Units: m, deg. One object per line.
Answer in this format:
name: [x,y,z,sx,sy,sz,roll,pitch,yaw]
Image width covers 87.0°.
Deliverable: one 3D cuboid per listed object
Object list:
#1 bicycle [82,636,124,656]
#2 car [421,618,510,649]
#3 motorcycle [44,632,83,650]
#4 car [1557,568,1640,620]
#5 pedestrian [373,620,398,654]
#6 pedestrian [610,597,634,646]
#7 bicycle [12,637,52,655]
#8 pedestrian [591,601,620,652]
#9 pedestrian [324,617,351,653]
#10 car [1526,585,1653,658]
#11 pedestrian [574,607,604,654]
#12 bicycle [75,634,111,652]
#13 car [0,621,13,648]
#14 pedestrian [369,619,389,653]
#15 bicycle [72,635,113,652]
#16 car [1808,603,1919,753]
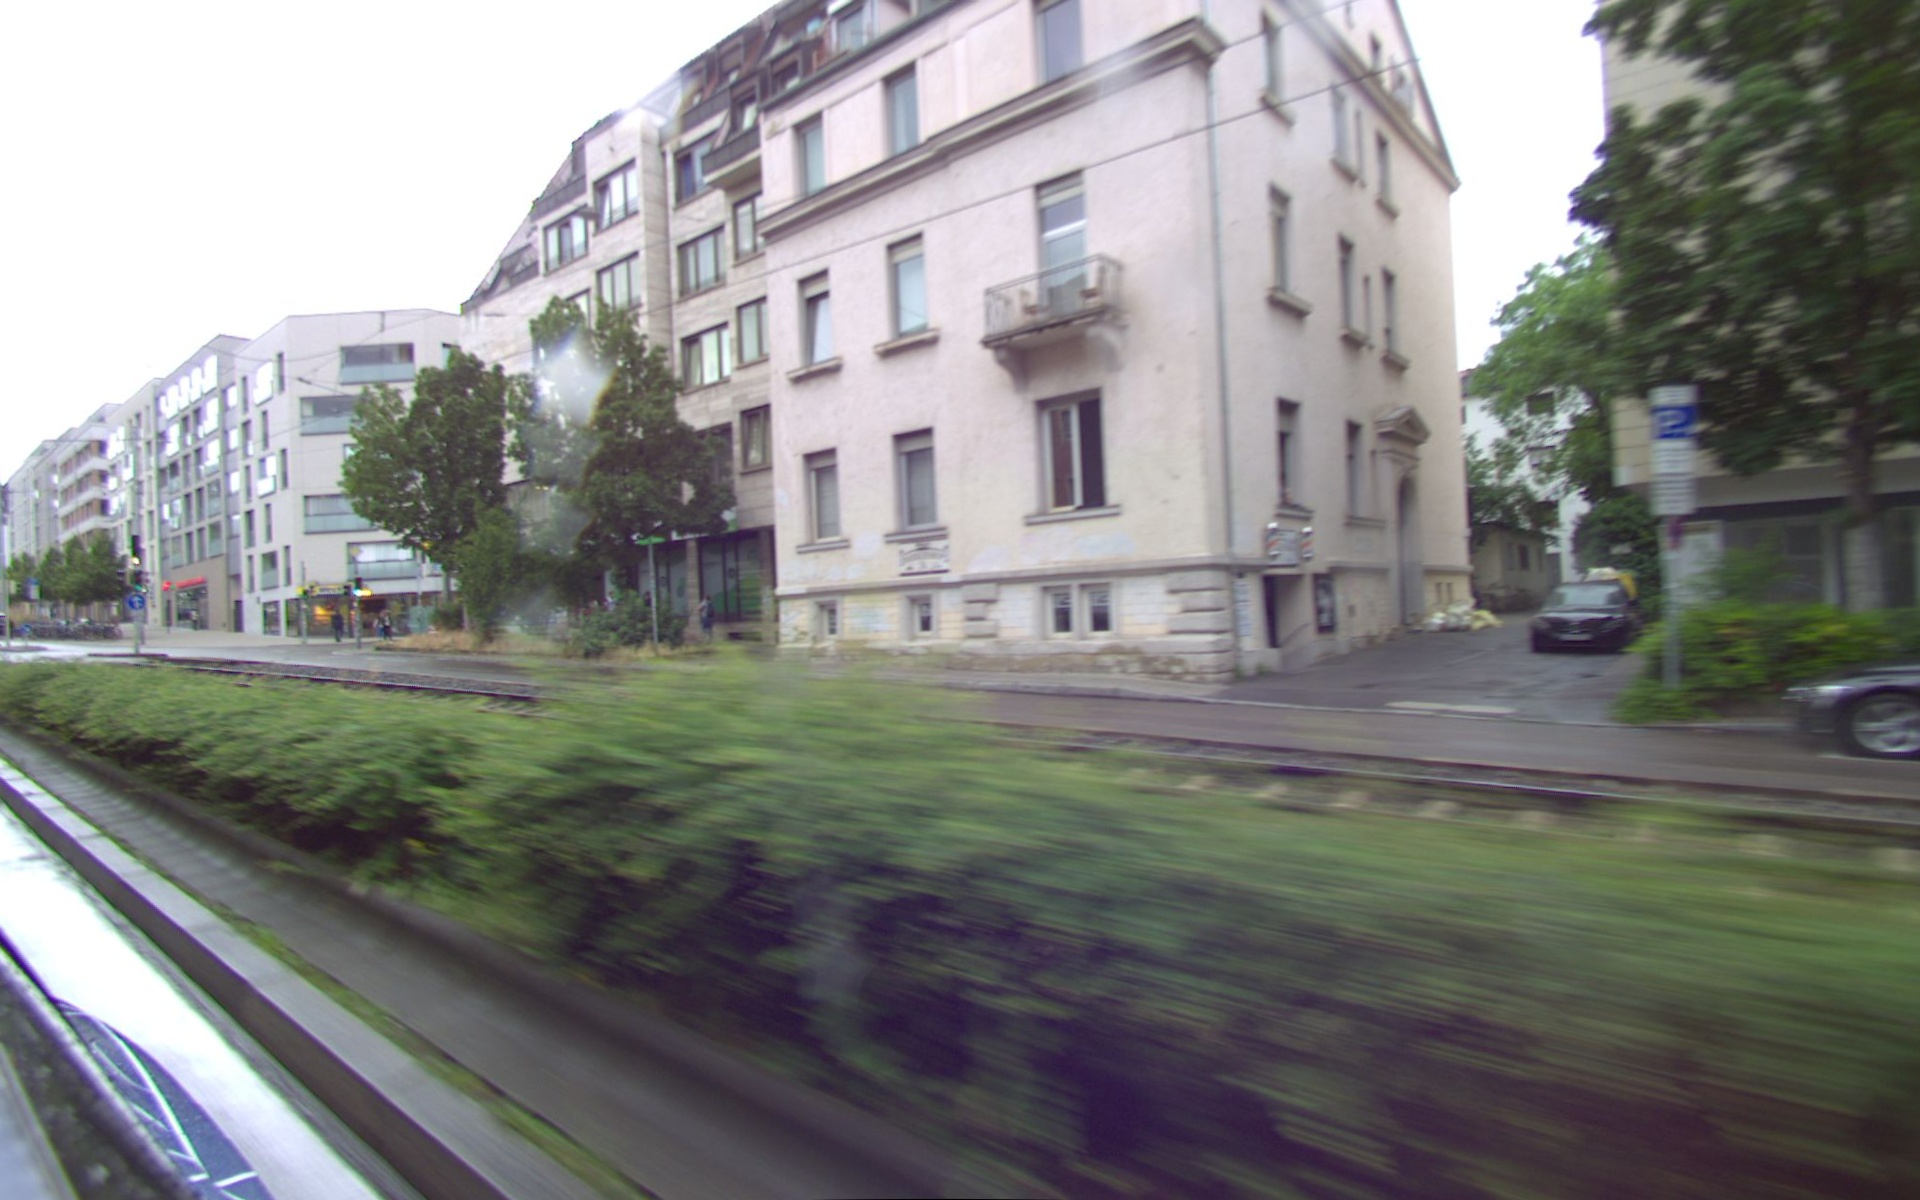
bicycle: [-49.527,2.635,58.495,0.438,0.987,1.774,0,2,25]
car: [-24.414,1.646,50.058,1.593,1.327,3.655,1,1,41]
motorcycle: [-56.743,2.573,64.078,0.540,1.050,1.748,1,0,26]
car: [20.990,-0.201,33.213,1.859,1.573,4.072,-1,0,39]
pedestrian: [-27.512,1.772,48.441,0.767,1.580,0.648,-1,2,3]
pedestrian: [-11.627,0.731,34.796,0.585,1.609,0.499,1,3,38]
bicycle: [-55.389,2.735,60.412,0.385,0.924,1.774,0,0,25]
pedestrian: [-12.327,0.908,35.198,0.683,1.737,0.641,1,3,39]
pedestrian: [-33.438,1.869,54.358,0.956,1.843,0.923,0,-1,32]
car: [13.872,0.397,22.184,1.859,1.429,4.374,-1,0,39]
pedestrian: [-12.694,1.035,34.640,0.683,1.560,0.641,1,3,39]
bicycle: [-51.148,2.508,59.719,0.383,0.924,1.784,-1,1,10]
car: [-60.721,2.121,62.760,4.311,1.615,1.669,0,2,30]
pedestrian: [-30.794,1.904,53.634,0.580,1.723,0.702,-1,1,16]
bicycle: [-50.597,2.543,59.022,0.385,0.883,1.773,0,2,28]
car: [10.611,0.751,8.979,4.718,1.388,1.676,1,-1,41]
